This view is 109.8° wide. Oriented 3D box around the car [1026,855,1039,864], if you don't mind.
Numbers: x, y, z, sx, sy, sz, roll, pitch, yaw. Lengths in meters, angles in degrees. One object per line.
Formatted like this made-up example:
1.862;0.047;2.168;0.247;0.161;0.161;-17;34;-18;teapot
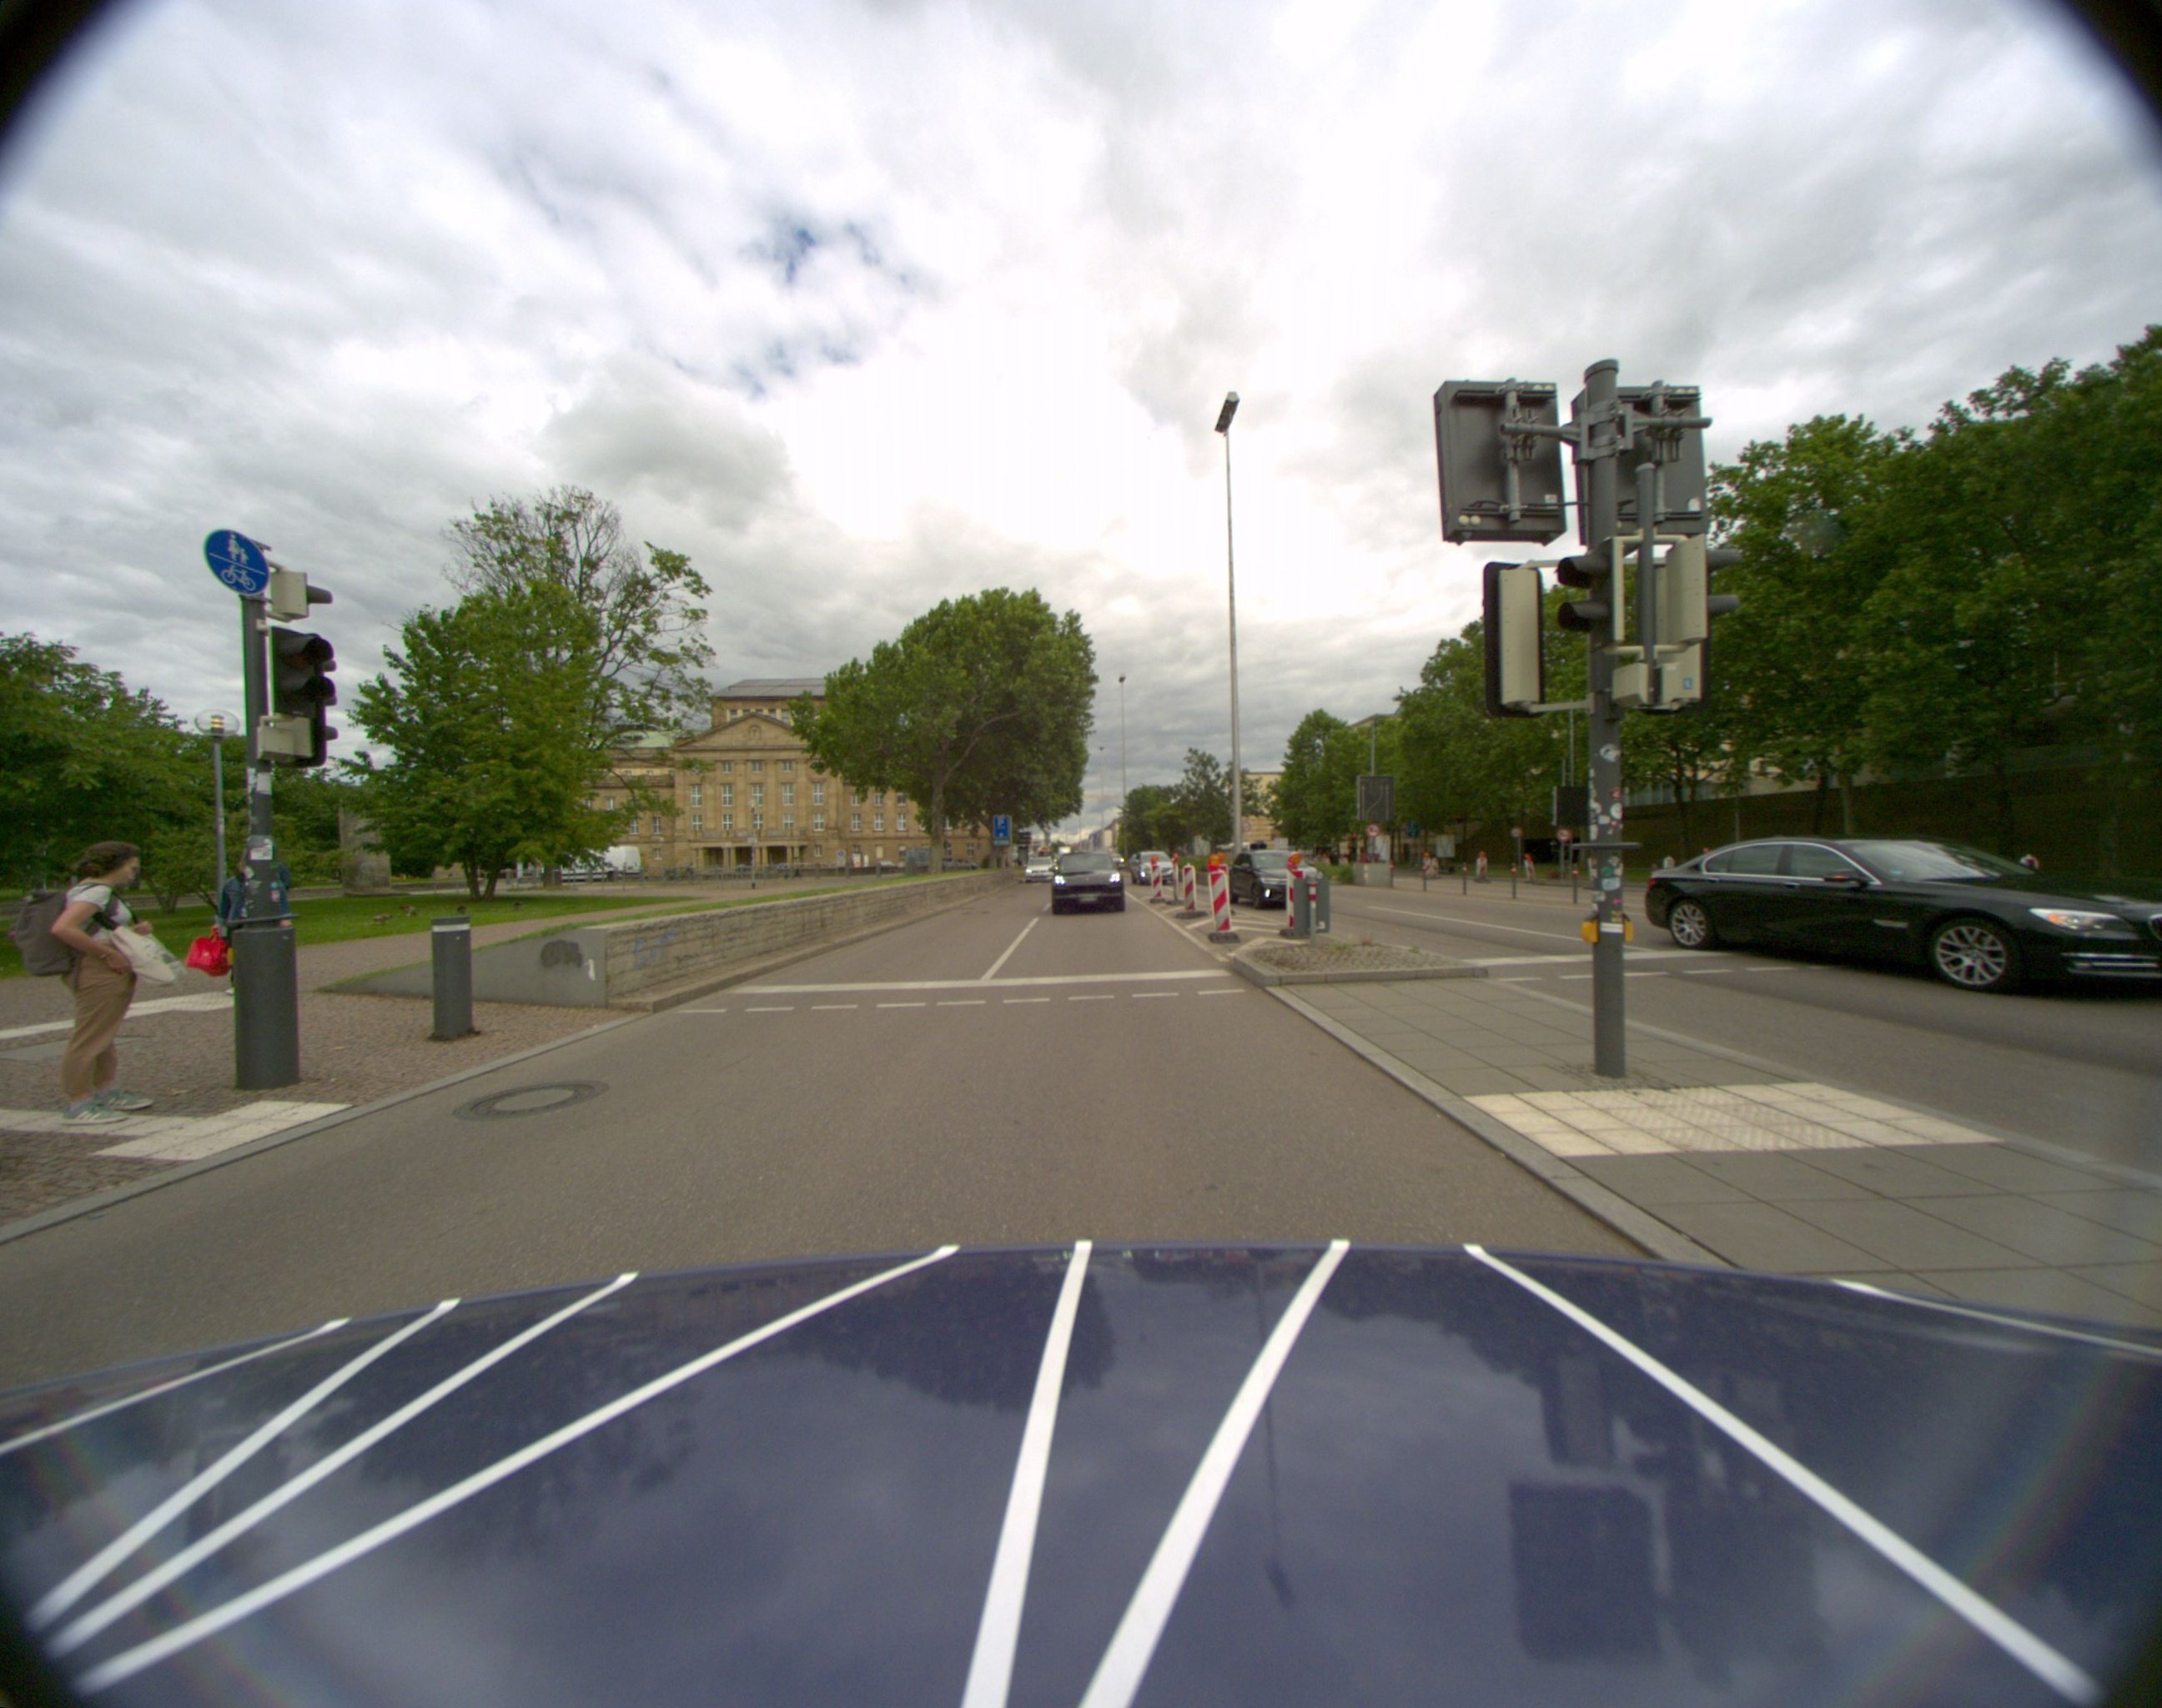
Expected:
-8.343;0.931;131.094;1.843;1.522;3.999;-1;1;1;car

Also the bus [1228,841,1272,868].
21.497;0.049;97.355;2.920;3.286;10.446;-1;0;-2;bus

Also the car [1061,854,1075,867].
-1.733;0.901;102.356;1.733;1.587;3.999;-4;1;0;car

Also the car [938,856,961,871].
-14.747;1.095;85.605;1.768;1.508;4.218;-1;-1;1;car

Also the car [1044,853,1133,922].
0.101;0.869;21.985;2.062;1.616;4.599;-4;1;-5;car

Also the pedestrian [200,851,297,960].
-12.785;0.776;11.687;0.803;1.617;0.626;-1;0;7;pedestrian

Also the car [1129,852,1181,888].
3.683;0.768;38.505;1.999;1.607;4.737;-2;1;-1;car

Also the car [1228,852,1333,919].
5.267;0.773;20.583;1.767;1.507;4.152;-3;1;1;car

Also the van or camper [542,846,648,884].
-33.845;0.756;53.071;5.712;2.307;2.319;-2;2;-1;van or camper

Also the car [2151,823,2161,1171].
6.045;0.656;1.267;1.898;1.705;4.658;-2;0;-1;car

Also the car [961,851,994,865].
-13.403;0.469;98.280;4.000;1.587;1.733;-4;1;-10;car

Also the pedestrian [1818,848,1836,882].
35.709;0.506;36.380;0.355;1.598;0.443;-4;1;-7;pedestrian

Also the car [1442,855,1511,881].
21.821;0.761;42.096;1.730;1.364;4.000;-1;0;0;car

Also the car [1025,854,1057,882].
-2.512;0.864;48.799;1.696;1.585;3.999;-4;1;0;car

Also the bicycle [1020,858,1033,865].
-8.440;1.117;117.343;1.919;1.092;0.541;-1;0;-9;bicycle

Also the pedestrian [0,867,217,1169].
-6.009;0.931;4.567;0.699;1.646;0.683;-4;1;-2;pedestrian

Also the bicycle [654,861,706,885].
-20.140;0.940;38.160;2.197;1.135;0.685;-1;0;-1;bicycle

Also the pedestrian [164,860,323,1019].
-8.957;0.867;8.160;0.683;1.553;0.909;4;2;16;pedestrian

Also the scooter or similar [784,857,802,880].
-16.540;0.818;43.614;0.718;1.239;0.728;3;1;-3;scooter or similar

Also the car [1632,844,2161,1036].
8.905;0.672;8.399;1.999;1.474;4.808;-1;0;-2;car

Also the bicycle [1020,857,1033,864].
-8.701;1.037;121.351;1.939;1.126;0.540;-2;0;-21;bicycle
